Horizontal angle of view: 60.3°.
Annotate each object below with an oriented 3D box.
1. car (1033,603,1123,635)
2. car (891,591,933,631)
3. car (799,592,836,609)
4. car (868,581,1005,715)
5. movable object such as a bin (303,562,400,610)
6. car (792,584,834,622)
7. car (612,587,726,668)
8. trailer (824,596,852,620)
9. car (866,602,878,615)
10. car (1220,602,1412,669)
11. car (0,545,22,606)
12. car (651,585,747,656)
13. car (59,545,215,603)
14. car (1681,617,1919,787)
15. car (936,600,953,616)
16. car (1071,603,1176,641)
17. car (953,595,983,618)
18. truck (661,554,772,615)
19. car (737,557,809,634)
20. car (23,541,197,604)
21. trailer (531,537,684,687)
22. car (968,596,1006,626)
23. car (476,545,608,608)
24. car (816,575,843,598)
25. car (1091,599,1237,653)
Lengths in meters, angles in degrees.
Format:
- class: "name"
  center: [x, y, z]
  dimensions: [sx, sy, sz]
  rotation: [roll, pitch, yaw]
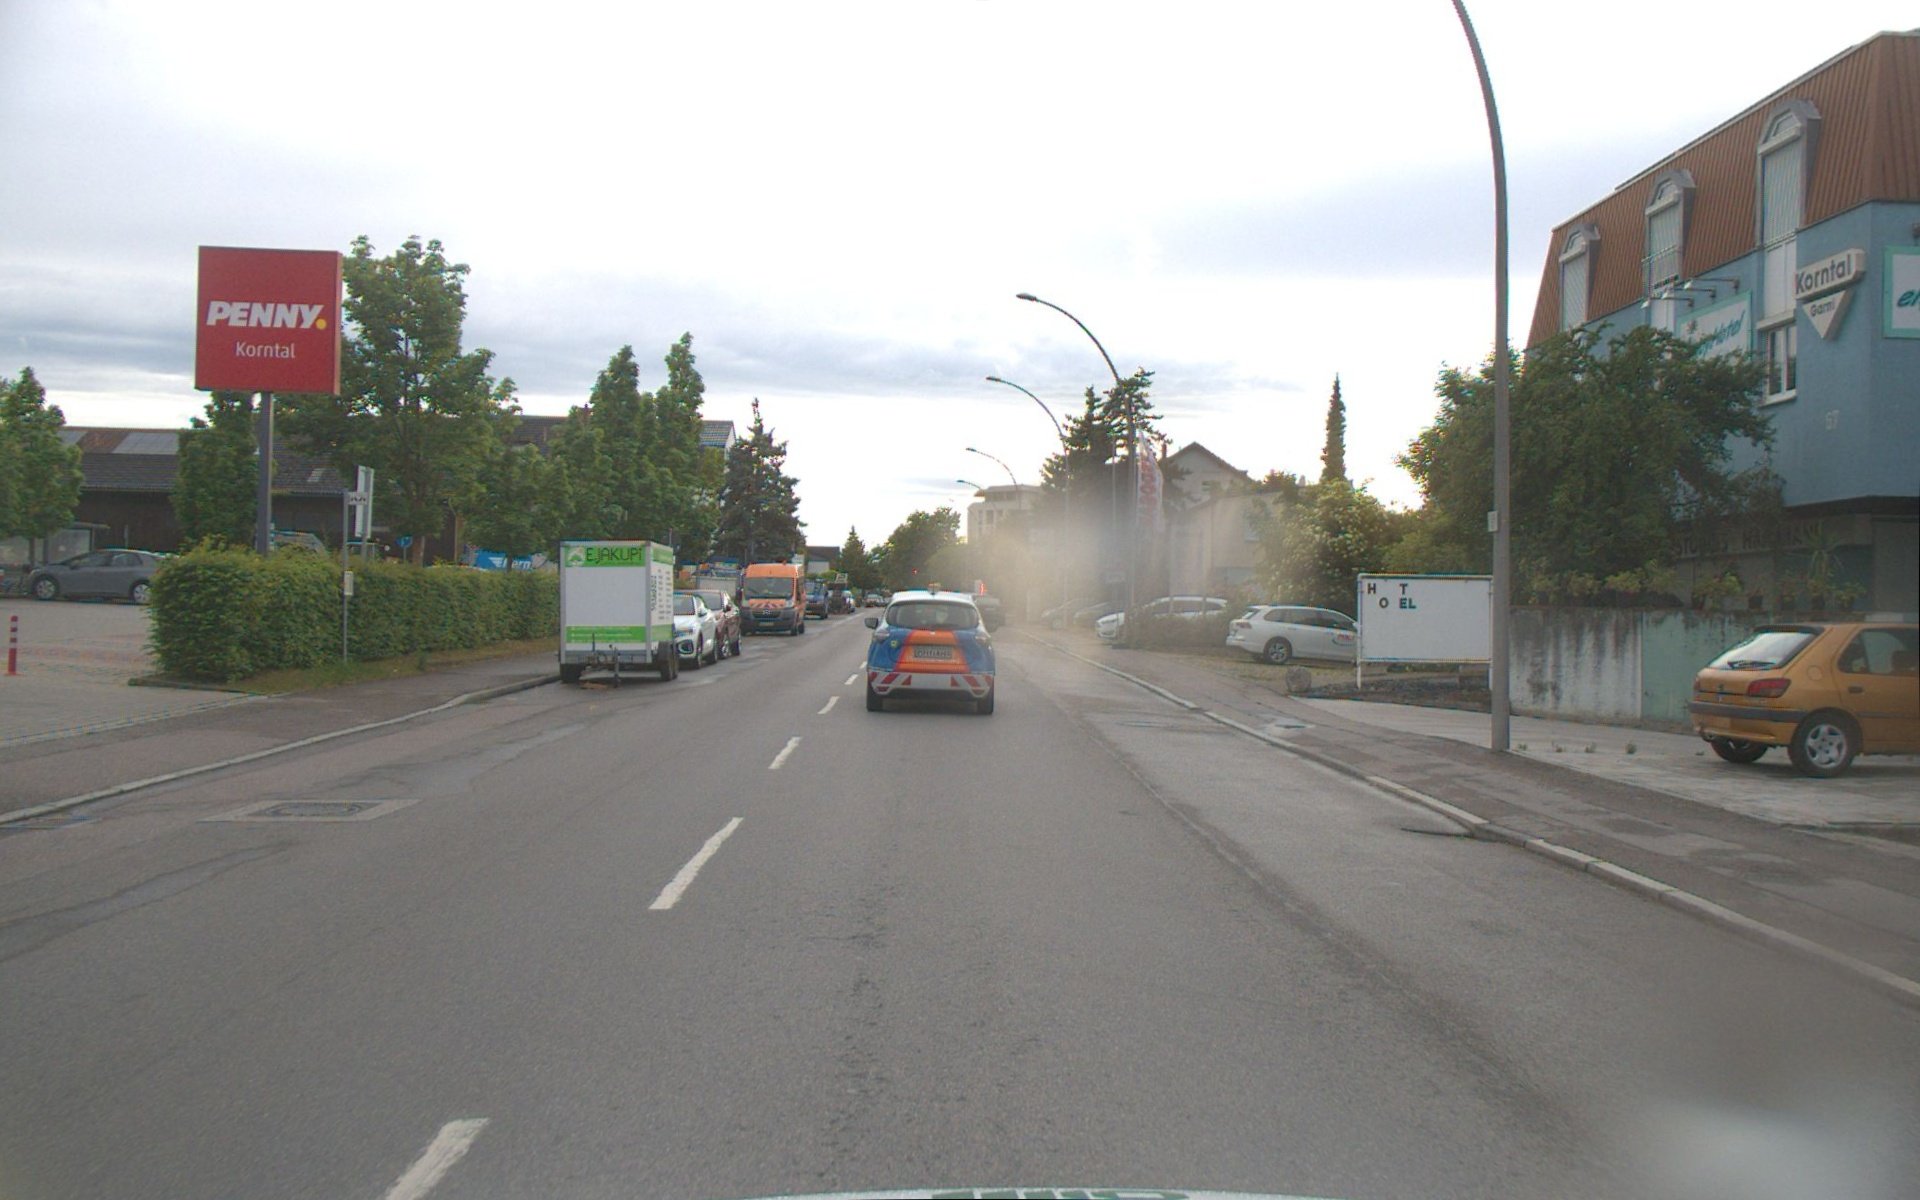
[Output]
- class: "car"
  center: [5.443, 0.866, 76.798]
  dimensions: [3.908, 1.288, 1.949]
  rotation: [3, -1, -3]
- class: "car"
  center: [-2.052, 0.477, 70.302]
  dimensions: [1.617, 1.548, 3.997]
  rotation: [3, -1, -3]
- class: "car"
  center: [-14.632, 0.078, 169.307]
  dimensions: [3.687, 1.604, 1.653]
  rotation: [3, -1, -6]
- class: "car"
  center: [-0.361, 0.625, 22.724]
  dimensions: [1.697, 1.659, 3.493]
  rotation: [2, -1, -2]
- class: "movable object such as a bin"
  center: [-25.454, -0.572, 69.303]
  dimensions: [3.358, 1.790, 1.996]
  rotation: [3, -1, -8]
- class: "car"
  center: [-8.033, 0.181, 90.927]
  dimensions: [1.954, 1.981, 5.362]
  rotation: [3, -1, -2]
- class: "car"
  center: [-5.985, 0.519, 34.378]
  dimensions: [1.737, 1.525, 4.135]
  rotation: [2, 1, -2]
- class: "trailer"
  center: [-7.981, 0.515, 108.767]
  dimensions: [1.683, 1.282, 5.241]
  rotation: [3, 1, -3]
- class: "car"
  center: [-10.358, 0.981, 194.740]
  dimensions: [1.359, 1.509, 3.781]
  rotation: [2, 0, -3]
- class: "car"
  center: [8.875, 0.877, 41.483]
  dimensions: [4.327, 1.417, 1.879]
  rotation: [3, -1, -3]
- class: "car"
  center: [-24.157, -0.659, 38.167]
  dimensions: [3.900, 1.411, 1.801]
  rotation: [3, -1, -6]
- class: "car"
  center: [-6.250, 0.454, 39.995]
  dimensions: [1.769, 1.601, 4.340]
  rotation: [1, 0, -2]
- class: "car"
  center: [-25.101, -0.772, 50.554]
  dimensions: [3.815, 1.547, 1.692]
  rotation: [3, -1, -6]
- class: "car"
  center: [9.132, 0.966, 15.646]
  dimensions: [3.908, 1.455, 1.630]
  rotation: [2, 0, -3]
- class: "car"
  center: [-1.717, 0.874, 184.272]
  dimensions: [1.617, 1.701, 3.997]
  rotation: [3, -1, -3]
- class: "car"
  center: [6.404, 0.868, 65.149]
  dimensions: [3.905, 1.288, 1.951]
  rotation: [3, -1, 0]
- class: "car"
  center: [0.551, 0.469, 114.011]
  dimensions: [1.678, 1.463, 4.522]
  rotation: [3, -1, -4]
- class: "truck"
  center: [-13.789, -0.840, 93.971]
  dimensions: [5.792, 3.127, 2.449]
  rotation: [3, -1, -1]
- class: "car"
  center: [-6.664, -0.167, 59.519]
  dimensions: [2.082, 2.582, 6.019]
  rotation: [1, 0, -2]
- class: "car"
  center: [-24.578, -0.788, 47.962]
  dimensions: [3.977, 1.578, 1.883]
  rotation: [3, -1, -6]
- class: "trailer"
  center: [-5.979, 0.189, 28.588]
  dimensions: [1.776, 2.354, 4.728]
  rotation: [-1, 0, -2]
- class: "car"
  center: [1.324, 0.533, 82.050]
  dimensions: [1.558, 1.364, 4.090]
  rotation: [3, 0, -3]
- class: "car"
  center: [-15.236, -0.847, 60.483]
  dimensions: [4.219, 2.049, 2.062]
  rotation: [3, -1, -2]
- class: "car"
  center: [-9.033, -0.937, 114.693]
  dimensions: [1.526, 1.458, 3.998]
  rotation: [3, -1, -2]
- class: "car"
  center: [6.365, 0.814, 51.908]
  dimensions: [4.251, 1.501, 1.902]
  rotation: [2, -1, -3]
